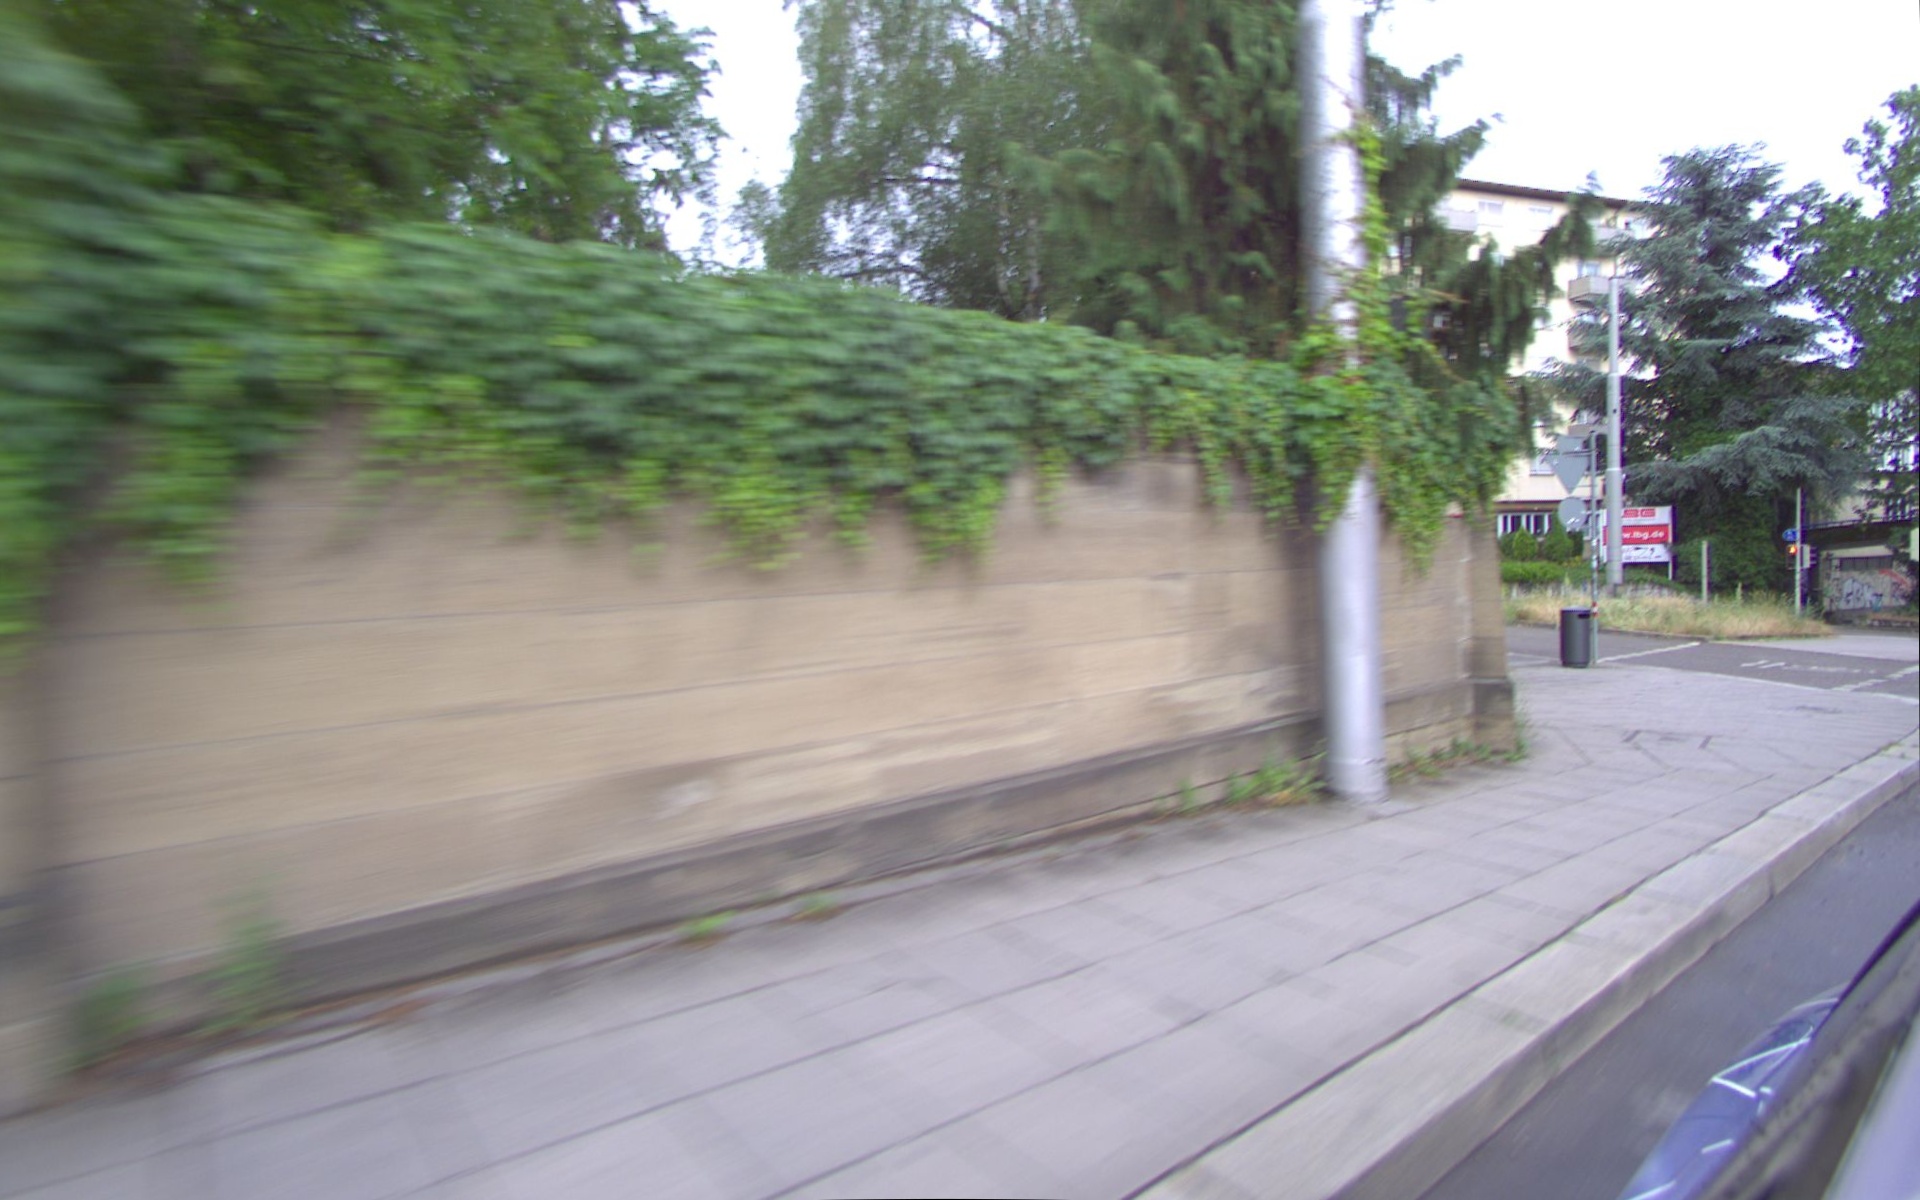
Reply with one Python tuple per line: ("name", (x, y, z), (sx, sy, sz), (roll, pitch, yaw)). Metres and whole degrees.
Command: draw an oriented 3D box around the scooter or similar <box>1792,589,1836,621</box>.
("scooter or similar", (34.374, 0.191, 40.719), (1.879, 1.233, 0.603), (1, 2, -26))
